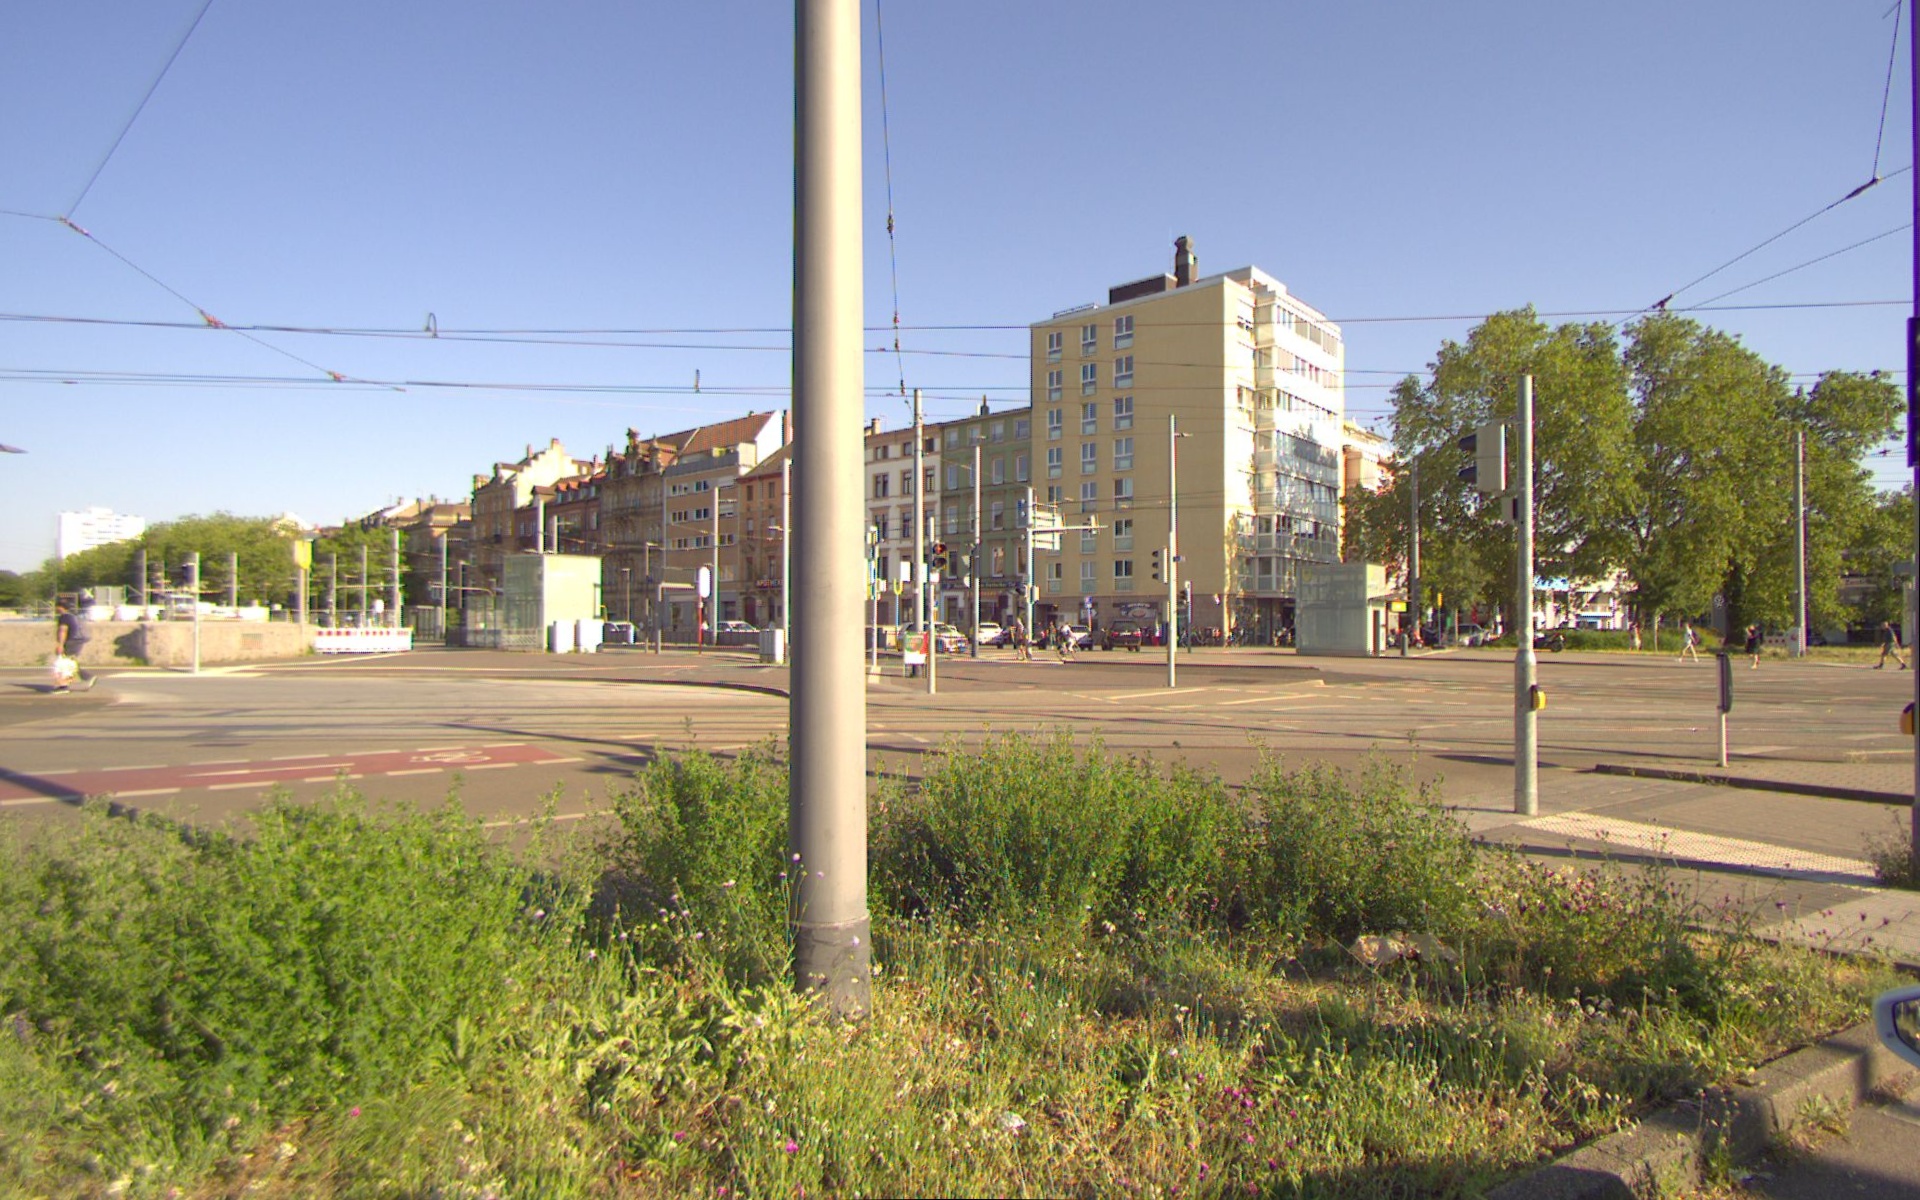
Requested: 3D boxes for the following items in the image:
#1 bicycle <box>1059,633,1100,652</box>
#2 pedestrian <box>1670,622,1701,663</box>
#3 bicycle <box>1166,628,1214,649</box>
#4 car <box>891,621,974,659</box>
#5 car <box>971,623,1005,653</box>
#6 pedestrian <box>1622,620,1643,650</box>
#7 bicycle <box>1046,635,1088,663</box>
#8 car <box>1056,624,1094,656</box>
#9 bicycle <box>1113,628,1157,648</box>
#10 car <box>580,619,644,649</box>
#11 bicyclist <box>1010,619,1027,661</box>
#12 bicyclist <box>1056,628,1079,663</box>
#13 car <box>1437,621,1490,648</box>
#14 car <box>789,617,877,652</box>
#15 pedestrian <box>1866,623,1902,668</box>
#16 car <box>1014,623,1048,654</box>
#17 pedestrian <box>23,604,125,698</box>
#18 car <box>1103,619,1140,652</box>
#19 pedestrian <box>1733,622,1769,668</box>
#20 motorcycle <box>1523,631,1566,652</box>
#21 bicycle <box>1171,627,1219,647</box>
[{"bbox_3d":[8.226,2.918,69.034,3.003,1.167,0.637,1,0,44],"label":"bicycle"},{"bbox_3d":[31.437,1.832,43.510,0.747,1.728,0.793,2,0,-22],"label":"pedestrian"},{"bbox_3d":[14.457,2.407,63.202,3.003,1.167,0.637,1,0,44],"label":"bicycle"},{"bbox_3d":[-1.361,1.918,49.117,3.943,1.684,1.776,1,0,43],"label":"car"},{"bbox_3d":[1.826,2.387,63.928,1.960,1.728,4.001,2,0,4],"label":"car"},{"bbox_3d":[39.193,2.038,58.575,0.491,1.716,0.852,2,0,-32],"label":"pedestrian"},{"bbox_3d":[4.327,1.970,40.667,0.617,1.104,1.914,2,0,44],"label":"bicycle"},{"bbox_3d":[6.755,2.315,59.289,1.960,1.728,4.001,2,0,4],"label":"car"},{"bbox_3d":[11.505,2.475,66.109,3.003,1.167,0.637,1,0,44],"label":"bicycle"},{"bbox_3d":[-23.934,2.320,69.023,4.837,1.849,1.990,2,0,41],"label":"car"},{"bbox_3d":[2.424,1.647,41.518,0.653,1.706,0.980,2,0,2],"label":"bicyclist"},{"bbox_3d":[4.360,1.833,40.679,0.617,1.368,0.658,2,0,44],"label":"bicyclist"},{"bbox_3d":[32.012,2.203,63.815,3.973,1.588,1.753,2,0,-44],"label":"car"},{"bbox_3d":[-6.849,1.819,53.887,4.641,1.684,1.781,2,0,35],"label":"car"},{"bbox_3d":[36.637,1.807,39.819,0.747,1.728,0.793,2,0,-22],"label":"pedestrian"},{"bbox_3d":[4.317,2.316,61.494,1.960,1.728,4.001,2,0,4],"label":"car"},{"bbox_3d":[-16.764,0.946,19.043,0.985,1.706,1.042,2,0,-6],"label":"pedestrian"},{"bbox_3d":[9.207,1.979,57.546,1.684,1.728,4.001,2,0,4],"label":"car"},{"bbox_3d":[31.031,1.761,39.404,0.747,1.728,0.793,2,0,-22],"label":"pedestrian"},{"bbox_3d":[29.148,2.057,50.115,1.753,0.926,0.676,2,0,41],"label":"motorcycle"},{"bbox_3d":[14.889,2.325,63.721,3.003,1.167,0.637,1,0,44],"label":"bicycle"}]
